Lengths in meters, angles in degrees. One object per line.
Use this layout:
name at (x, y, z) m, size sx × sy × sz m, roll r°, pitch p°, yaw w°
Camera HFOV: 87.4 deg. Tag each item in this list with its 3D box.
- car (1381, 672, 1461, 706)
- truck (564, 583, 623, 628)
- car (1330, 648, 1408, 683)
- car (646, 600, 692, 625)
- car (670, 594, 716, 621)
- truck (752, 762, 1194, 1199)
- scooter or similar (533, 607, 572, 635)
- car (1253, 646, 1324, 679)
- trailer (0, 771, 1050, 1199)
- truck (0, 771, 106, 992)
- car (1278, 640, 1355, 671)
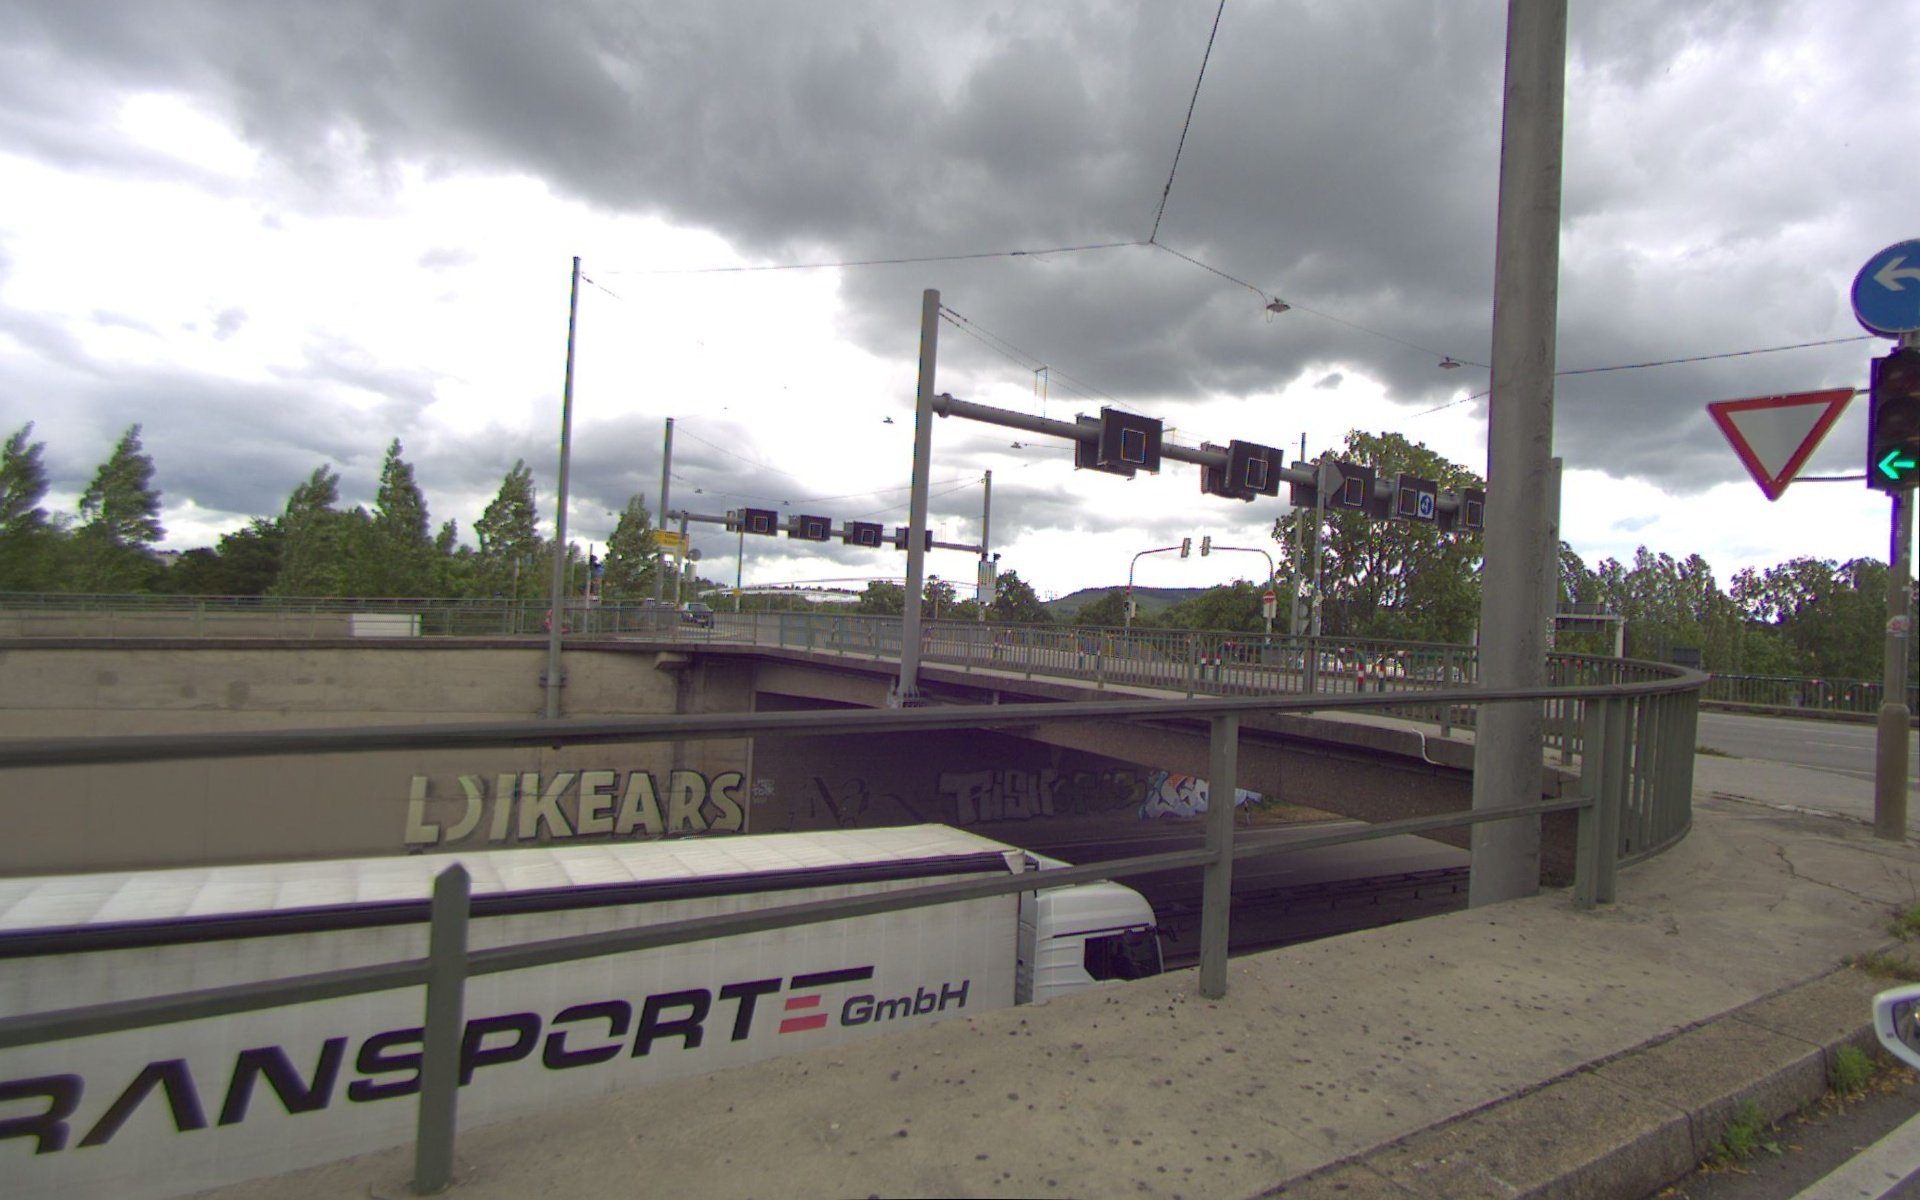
car at (27.584, 5.332, 60.039) m, size 4.911 × 1.640 × 1.983 m, roll 7°, pitch -5°, yaw -32°
truck at (-32.309, 0.413, 88.267) m, size 2.982 × 3.612 × 9.898 m, roll 3°, pitch -1°, yaw -31°
car at (23.298, 3.721, 57.181) m, size 4.297 × 1.640 × 1.983 m, roll 7°, pitch -5°, yaw -32°
car at (-19.289, 0.808, 66.399) m, size 1.821 × 1.524 × 4.479 m, roll 3°, pitch -1°, yaw -31°
car at (-16.384, 0.437, 61.452) m, size 1.819 × 1.524 × 3.841 m, roll 3°, pitch -1°, yaw -29°
truck at (0.208, 5.226, 14.395) m, size 5.512 × 5.057 × 2.958 m, roll 2°, pitch 0°, yaw -30°
scooter or similar at (-15.986, 0.837, 39.379) m, size 1.324 × 1.070 × 0.479 m, roll 2°, pitch 0°, yaw -39°
car at (18.757, 3.585, 57.259) m, size 3.968 × 1.559 × 1.680 m, roll 7°, pitch -5°, yaw -33°
trailer at (-5.636, 5.032, 10.952) m, size 13.962 × 5.057 × 2.958 m, roll 2°, pitch 0°, yaw -30°
truck at (-20.900, 5.050, 17.702) m, size 8.144 × 3.500 × 3.568 m, roll 4°, pitch -4°, yaw -30°
car at (19.181, 2.962, 53.967) m, size 3.717 × 1.329 × 1.779 m, roll 7°, pitch -4°, yaw -26°
